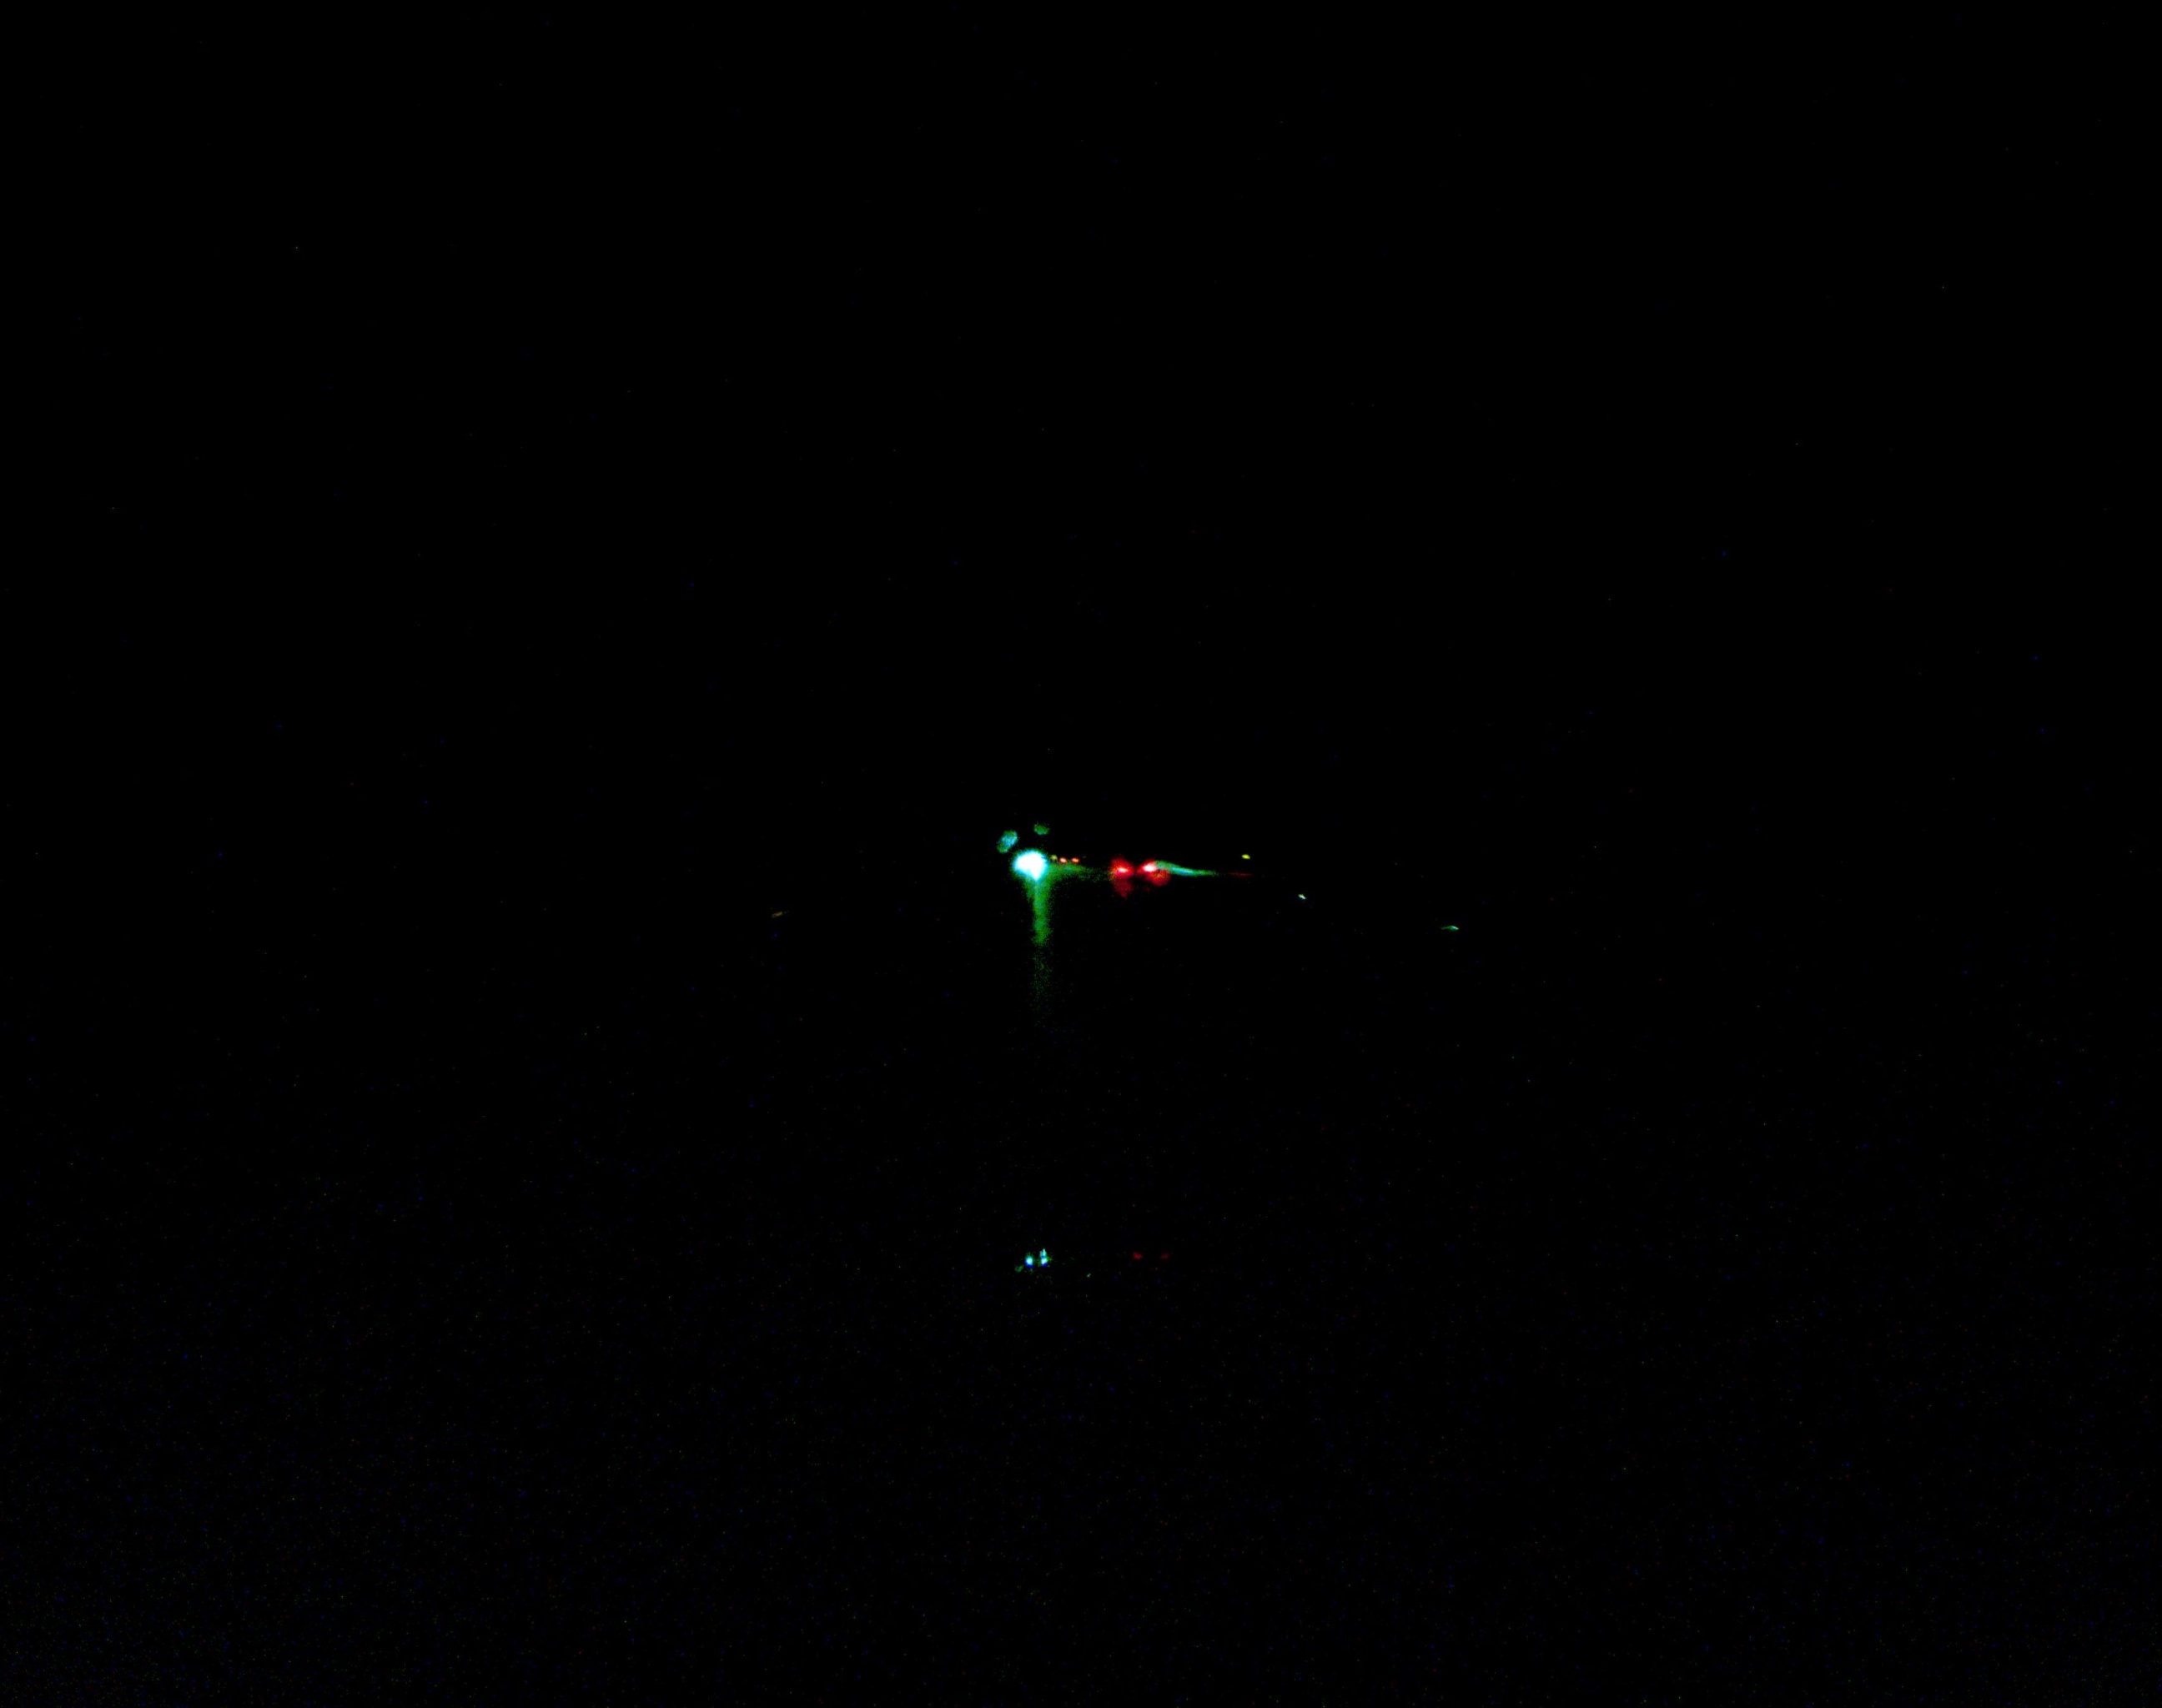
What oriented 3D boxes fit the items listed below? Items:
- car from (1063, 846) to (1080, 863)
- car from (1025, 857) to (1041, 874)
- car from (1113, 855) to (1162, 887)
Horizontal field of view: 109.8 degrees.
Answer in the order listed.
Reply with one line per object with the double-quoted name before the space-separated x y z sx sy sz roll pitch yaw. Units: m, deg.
"car" -1.123 0.032 86.954 1.784 1.833 4.159 -2 1 -2
"car" -5.527 1.340 88.451 1.798 1.839 3.641 -1 0 -3
"car" 2.770 0.795 37.878 1.999 1.403 3.999 -2 1 -2
